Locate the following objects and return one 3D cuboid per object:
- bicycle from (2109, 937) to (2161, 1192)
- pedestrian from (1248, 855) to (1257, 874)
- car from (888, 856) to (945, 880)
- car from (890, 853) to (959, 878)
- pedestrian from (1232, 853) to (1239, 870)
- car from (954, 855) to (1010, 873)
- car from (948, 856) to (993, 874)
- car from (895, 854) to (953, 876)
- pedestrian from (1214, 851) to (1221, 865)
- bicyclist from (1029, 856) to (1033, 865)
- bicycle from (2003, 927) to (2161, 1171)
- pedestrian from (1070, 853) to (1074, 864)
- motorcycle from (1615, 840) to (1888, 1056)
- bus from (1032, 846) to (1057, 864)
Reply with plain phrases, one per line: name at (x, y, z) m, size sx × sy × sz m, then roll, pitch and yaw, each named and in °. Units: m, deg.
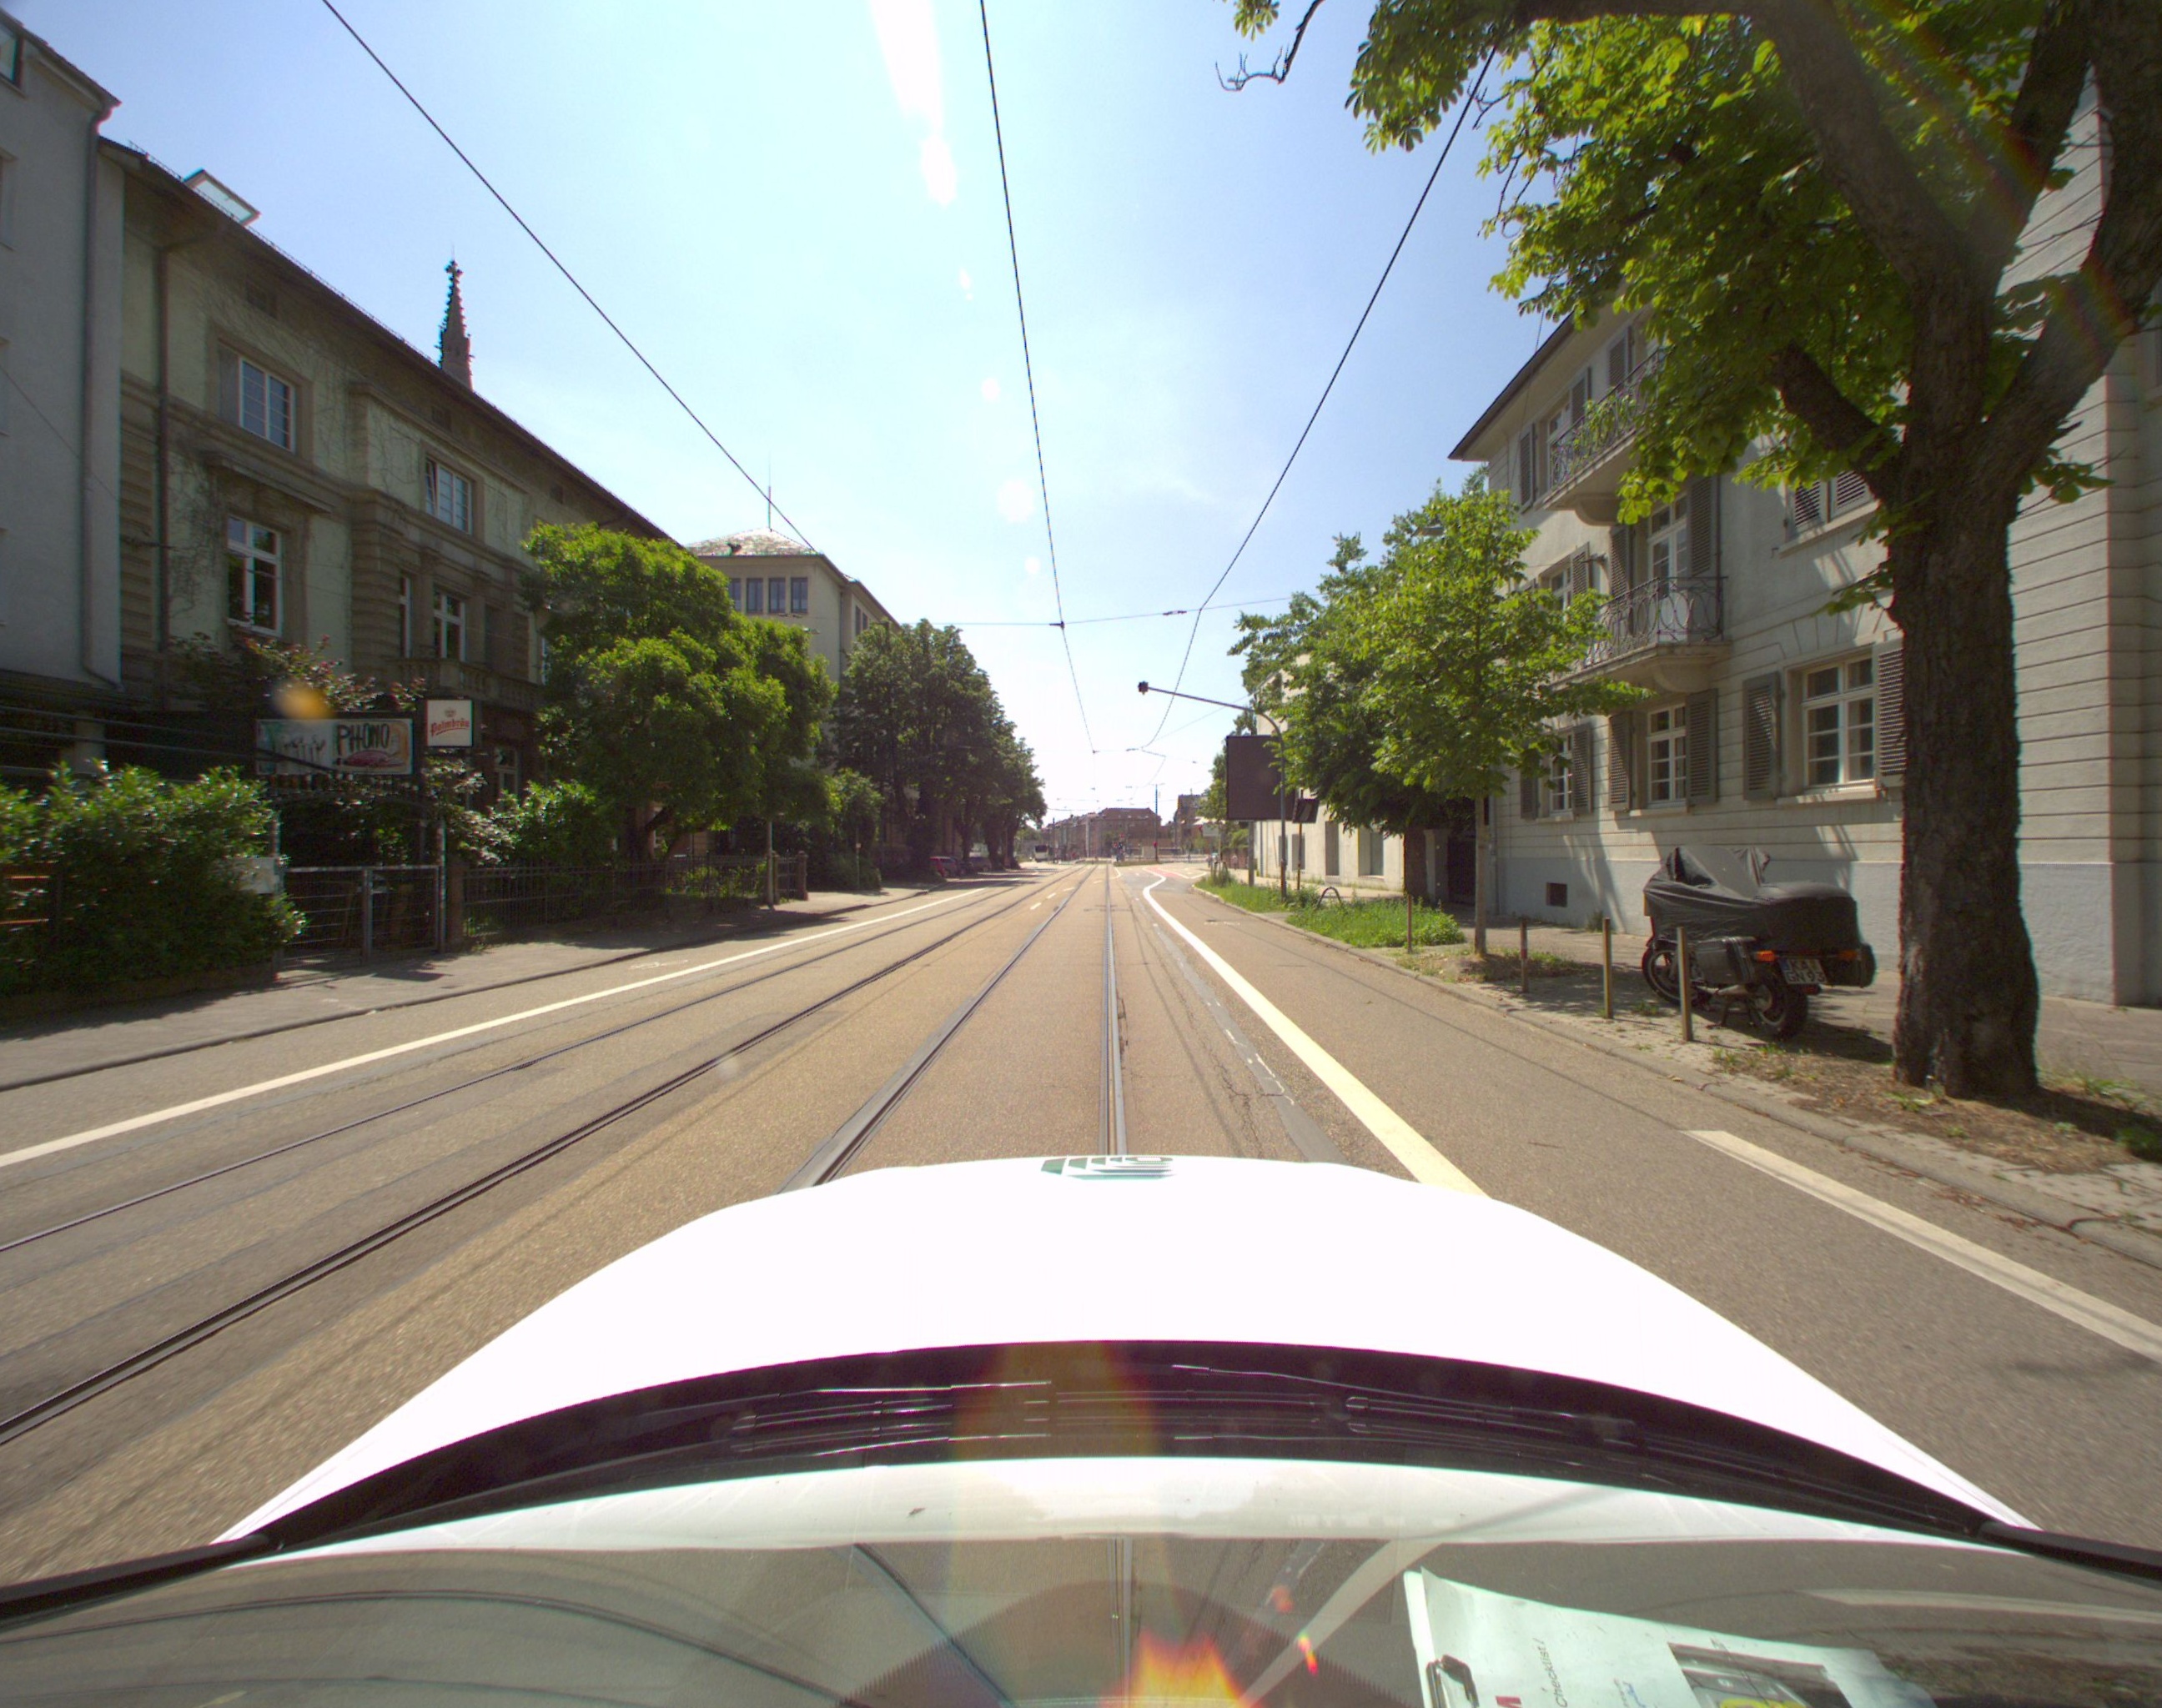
bicycle at (5.192, 0.858, 3.251) m, size 1.651 × 1.015 × 0.372 m, roll 0°, pitch 0°, yaw 2°
pedestrian at (16.001, 0.963, 76.045) m, size 0.622 × 1.773 × 0.722 m, roll -4°, pitch -1°, yaw 16°
car at (-10.740, 0.901, 53.215) m, size 3.357 × 1.516 × 1.656 m, roll 1°, pitch -1°, yaw -24°
car at (-10.808, 0.795, 56.288) m, size 4.332 × 1.584 × 1.654 m, roll 2°, pitch -1°, yaw -28°
pedestrian at (15.438, 0.725, 81.289) m, size 0.657 × 1.647 × 0.625 m, roll 0°, pitch 0°, yaw 7°
car at (-7.641, 0.745, 62.907) m, size 3.939 × 1.374 × 1.656 m, roll 0°, pitch 0°, yaw -24°
car at (-9.845, 1.011, 72.642) m, size 3.684 × 1.520 × 1.655 m, roll 2°, pitch -1°, yaw -27°
car at (-11.370, 0.776, 58.986) m, size 3.827 × 1.577 × 1.778 m, roll 0°, pitch 0°, yaw -28°
pedestrian at (17.162, 0.488, 102.681) m, size 0.810 × 1.808 × 0.701 m, roll 0°, pitch 0°, yaw 6°
bicyclist at (-10.525, 1.366, 171.299) m, size 0.818 × 1.709 × 0.770 m, roll 0°, pitch 0°, yaw 0°
bicycle at (5.220, 0.861, 3.665) m, size 1.651 × 1.016 × 0.372 m, roll 1°, pitch -2°, yaw 2°
pedestrian at (-1.540, 0.768, 141.325) m, size 0.672 × 1.909 × 0.639 m, roll 0°, pitch 0°, yaw -8°
motorcycle at (5.537, 0.656, 6.995) m, size 0.740 × 1.506 × 2.568 m, roll 0°, pitch 0°, yaw 13°
bus at (-6.744, 0.170, 152.633) m, size 2.998 × 3.158 × 17.508 m, roll 0°, pitch 0°, yaw 3°
